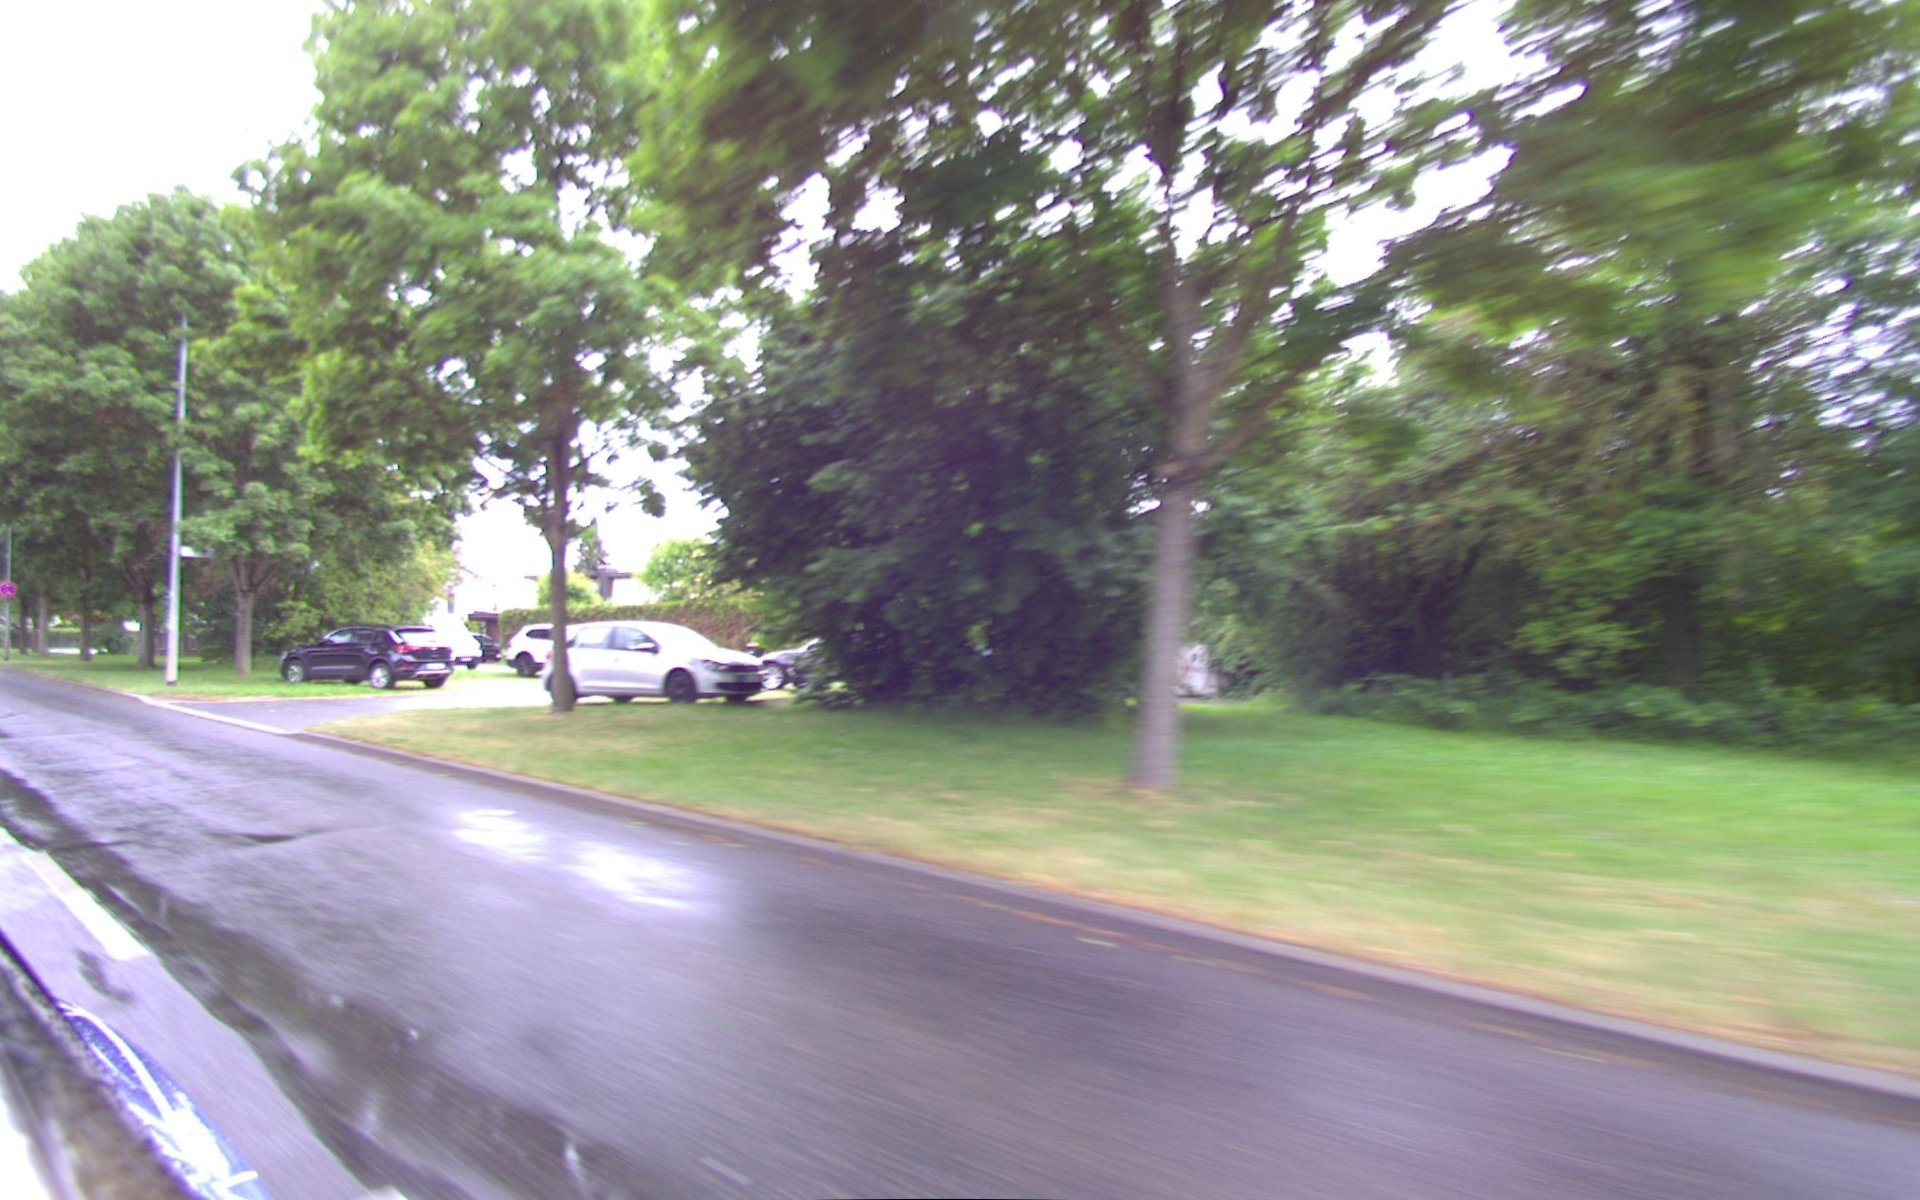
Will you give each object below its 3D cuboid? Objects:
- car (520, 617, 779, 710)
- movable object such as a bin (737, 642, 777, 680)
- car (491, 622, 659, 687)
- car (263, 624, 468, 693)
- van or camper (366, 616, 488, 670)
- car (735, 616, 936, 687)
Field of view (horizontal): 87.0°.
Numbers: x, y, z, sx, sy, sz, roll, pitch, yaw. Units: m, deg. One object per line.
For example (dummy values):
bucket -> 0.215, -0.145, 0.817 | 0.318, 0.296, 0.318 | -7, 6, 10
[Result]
car -> -5.479, 1.148, 17.849 | 4.190, 1.441, 1.872 | -3, -4, 23
movable object such as a bin -> -8.294, 2.477, 41.321 | 1.165, 1.478, 1.075 | -1, -1, 33
car -> -12.039, 1.680, 31.681 | 4.864, 1.783, 1.896 | 1, -3, 22
car -> -14.409, 1.394, 24.581 | 4.212, 1.525, 1.884 | 0, -3, 17
van or camper -> -24.322, 1.968, 46.093 | 6.134, 2.353, 2.073 | -1, -4, 33
car -> -3.044, 1.292, 24.867 | 4.568, 1.520, 1.857 | -3, -4, 18
